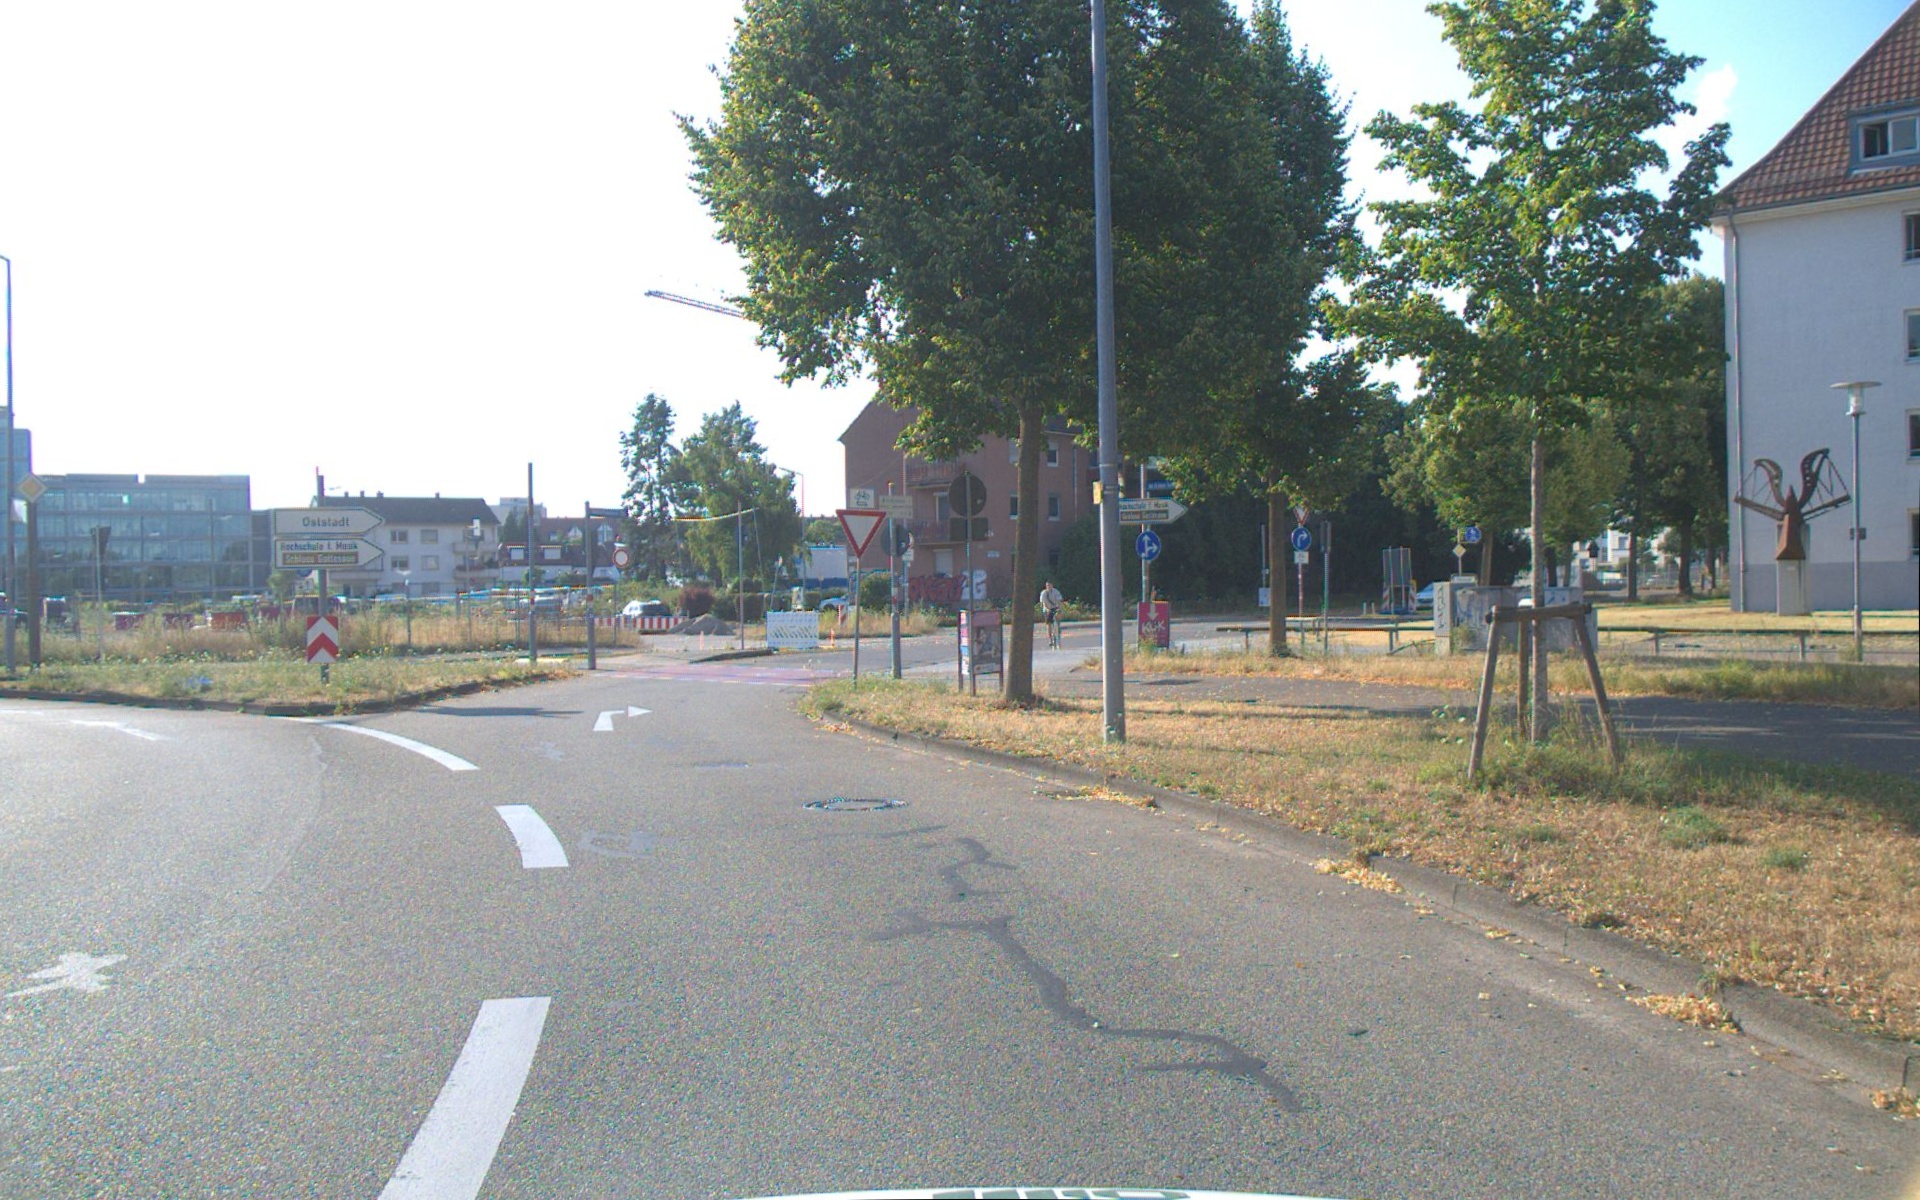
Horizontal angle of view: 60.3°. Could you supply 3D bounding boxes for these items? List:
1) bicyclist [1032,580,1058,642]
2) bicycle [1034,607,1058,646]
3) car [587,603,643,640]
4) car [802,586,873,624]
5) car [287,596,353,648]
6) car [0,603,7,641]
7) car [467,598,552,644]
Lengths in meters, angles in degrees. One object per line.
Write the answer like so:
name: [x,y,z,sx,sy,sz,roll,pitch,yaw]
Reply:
bicyclist: [2.245,0.289,43.653,0.644,1.589,0.894,-1,0,1]
bicycle: [2.262,0.698,43.855,0.584,0.980,2.106,-1,0,2]
car: [-20.294,1.259,97.162,1.656,2.049,3.767,-1,0,-39]
car: [-6.929,0.269,93.370,3.740,2.049,1.668,-1,0,33]
car: [-24.889,0.813,64.411,1.887,1.886,3.985,-2,1,-14]
car: [-52.923,1.213,89.052,1.983,2.048,3.938,-2,1,-42]
car: [-20.865,0.973,76.556,3.740,2.049,1.668,-1,0,33]
